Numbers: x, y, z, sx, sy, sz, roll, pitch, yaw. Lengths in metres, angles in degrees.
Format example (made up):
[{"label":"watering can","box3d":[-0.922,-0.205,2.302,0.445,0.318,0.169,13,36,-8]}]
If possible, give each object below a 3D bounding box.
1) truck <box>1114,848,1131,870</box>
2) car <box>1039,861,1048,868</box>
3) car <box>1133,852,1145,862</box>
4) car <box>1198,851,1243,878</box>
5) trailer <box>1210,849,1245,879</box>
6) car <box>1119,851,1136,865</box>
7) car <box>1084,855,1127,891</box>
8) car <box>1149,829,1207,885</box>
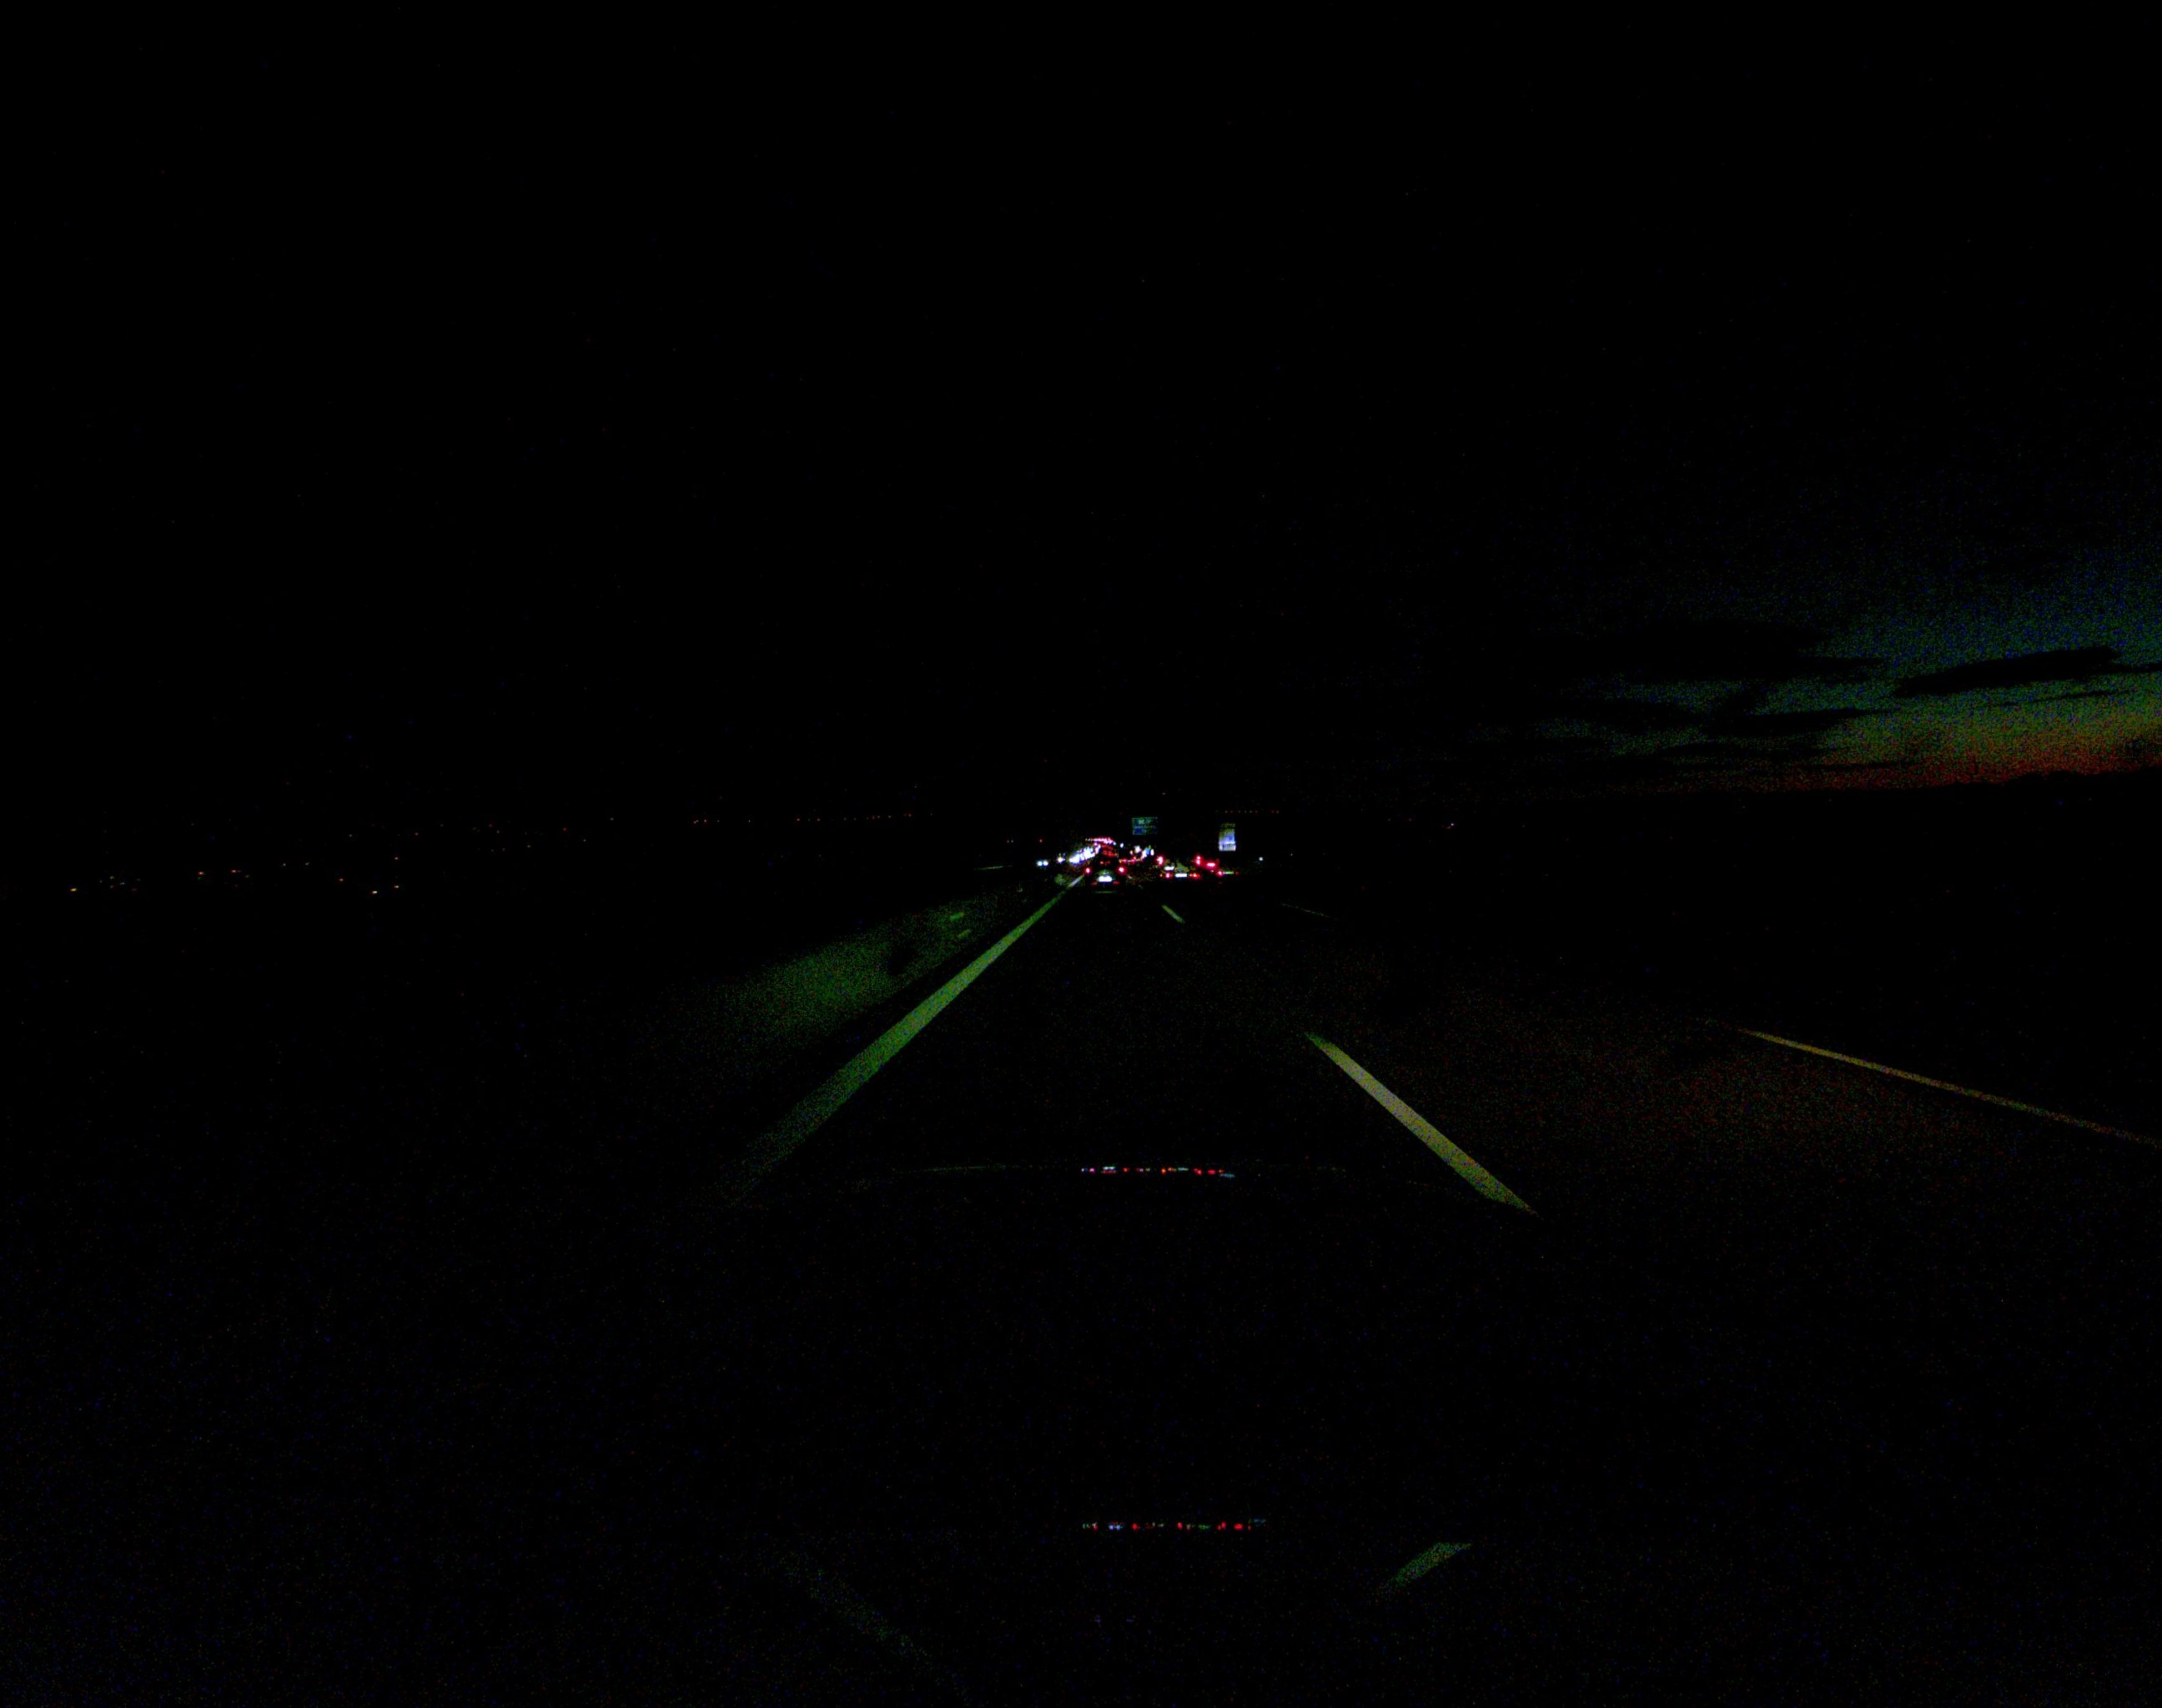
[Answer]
[{"label":"truck","box3d":[8.016,0.974,156.748,2.772,3.955,7.992,-2,0,0]},{"label":"car","box3d":[-9.805,2.801,214.970,1.987,1.478,5.045,-4,0,1]},{"label":"car","box3d":[12.552,0.685,175.515,2.342,2.076,4.725,-2,0,2]},{"label":"car","box3d":[8.716,0.631,51.303,2.154,1.563,4.725,-2,0,2]},{"label":"trailer","box3d":[8.517,0.574,47.642,1.560,1.693,2.822,-2,0,2]},{"label":"car","box3d":[6.687,0.544,117.772,2.342,1.914,4.725,-3,0,2]},{"label":"car","box3d":[1.113,0.801,36.382,1.787,1.469,3.775,-1,0,2]},{"label":"car","box3d":[4.747,0.124,40.792,2.342,2.535,5.704,-2,0,2]}]
